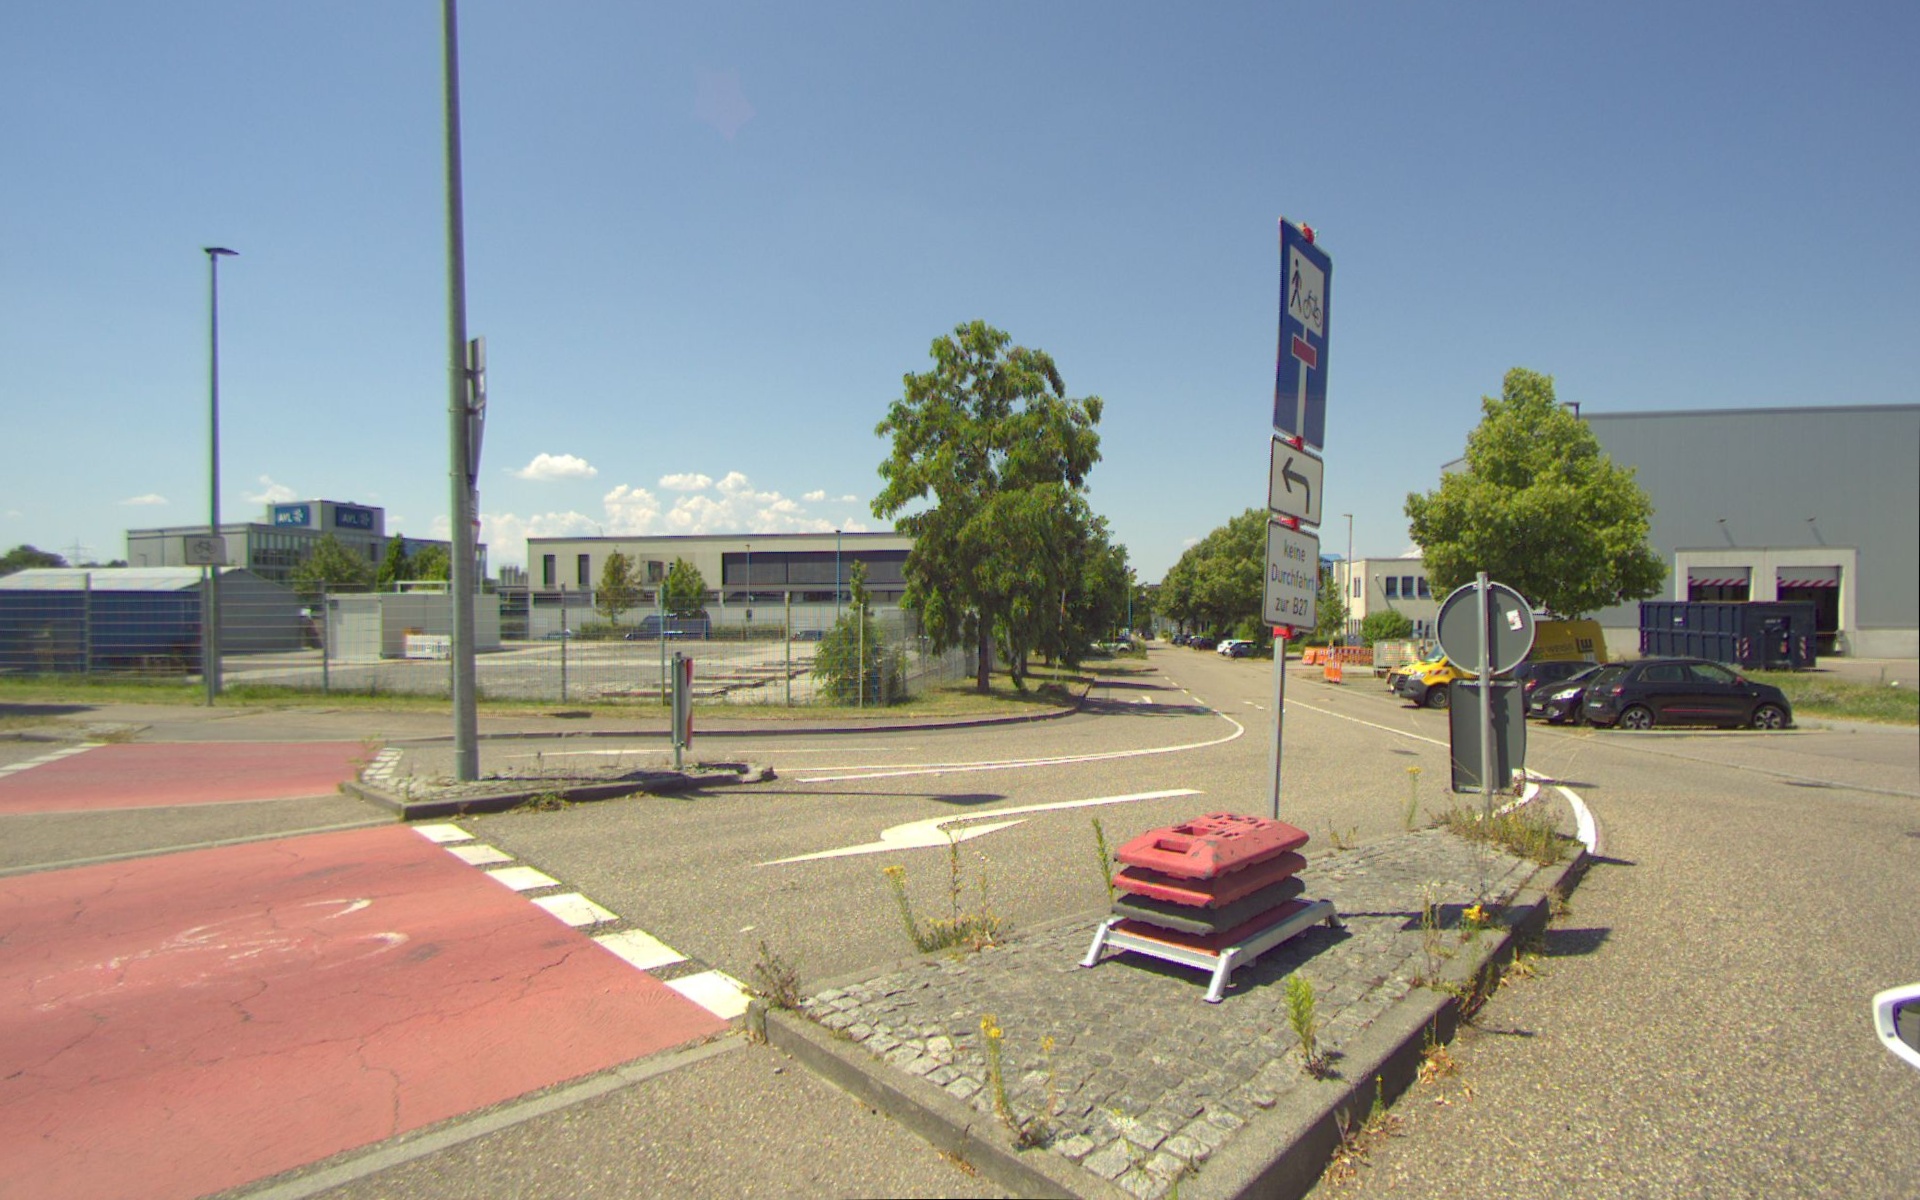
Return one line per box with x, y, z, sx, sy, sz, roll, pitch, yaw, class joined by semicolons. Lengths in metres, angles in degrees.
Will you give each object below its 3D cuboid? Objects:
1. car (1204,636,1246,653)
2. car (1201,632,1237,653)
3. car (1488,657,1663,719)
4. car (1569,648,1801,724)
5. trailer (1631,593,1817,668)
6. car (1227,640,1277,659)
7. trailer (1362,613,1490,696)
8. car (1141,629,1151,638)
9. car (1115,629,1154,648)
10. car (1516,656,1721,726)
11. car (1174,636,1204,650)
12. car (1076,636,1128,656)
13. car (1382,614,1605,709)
24.364;4.093;92.468;3.457;1.372;1.539;-2;-2;4;car
28.540;4.687;110.731;3.658;2.138;1.815;1;-2;8;car
16.010;2.274;26.291;3.540;1.498;1.629;0;-2;7;car
15.260;1.795;21.327;3.598;1.481;1.628;-2;-2;9;car
29.501;1.044;39.256;2.613;2.453;7.417;1;2;10;trailer
24.061;4.086;82.855;3.617;1.372;1.646;-2;-2;4;car
17.655;2.046;38.464;2.611;2.894;5.523;-1;-2;5;trailer
35.844;6.486;193.450;1.731;1.778;3.948;1;-2;9;car
14.471;3.193;83.400;3.007;1.498;1.293;2;-2;2;car
15.395;2.113;23.641;3.706;1.527;1.592;0;-2;6;car
32.331;6.048;141.780;3.866;1.860;1.767;1;2;1;car
11.188;3.615;79.260;3.977;1.514;1.730;1;-2;6;car
16.306;1.877;30.982;5.680;2.769;2.001;-1;-1;7;car
